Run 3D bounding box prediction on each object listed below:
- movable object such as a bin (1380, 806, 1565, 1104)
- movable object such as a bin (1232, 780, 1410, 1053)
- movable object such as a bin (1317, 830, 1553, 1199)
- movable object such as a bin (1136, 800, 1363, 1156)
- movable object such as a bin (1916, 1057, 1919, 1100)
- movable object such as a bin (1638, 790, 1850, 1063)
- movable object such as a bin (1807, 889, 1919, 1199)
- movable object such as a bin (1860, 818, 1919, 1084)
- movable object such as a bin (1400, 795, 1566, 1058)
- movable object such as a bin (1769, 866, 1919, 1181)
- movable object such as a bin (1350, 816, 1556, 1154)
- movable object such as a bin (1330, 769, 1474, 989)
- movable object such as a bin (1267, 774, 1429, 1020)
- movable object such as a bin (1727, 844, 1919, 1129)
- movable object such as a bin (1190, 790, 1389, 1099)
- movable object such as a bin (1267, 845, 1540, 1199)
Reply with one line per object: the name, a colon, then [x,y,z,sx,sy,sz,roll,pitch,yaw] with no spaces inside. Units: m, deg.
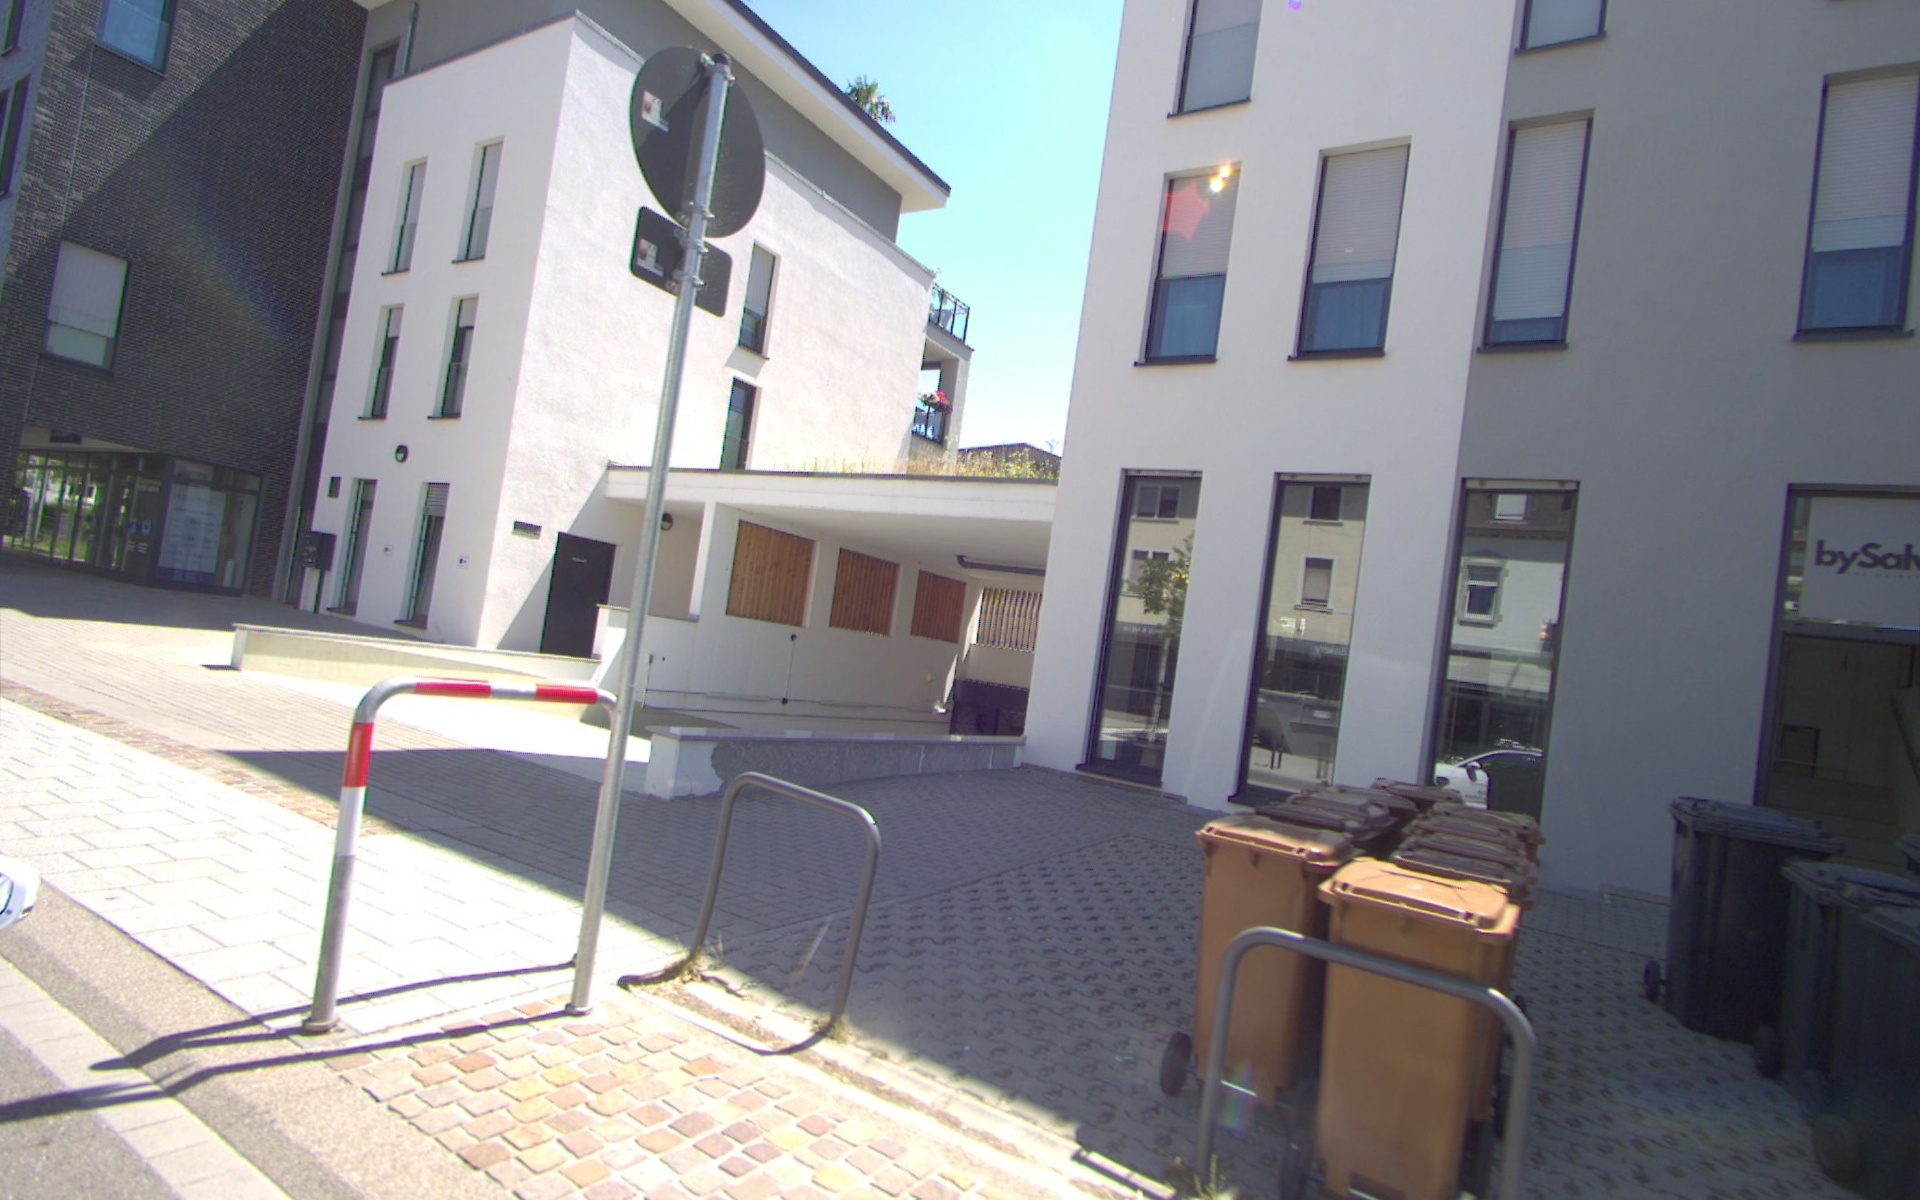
movable object such as a bin: [2.027,1.349,3.968,0.514,0.942,0.465,7,-1,33]
movable object such as a bin: [1.530,1.291,4.250,0.520,0.942,0.474,7,-1,33]
movable object such as a bin: [1.493,1.268,3.146,0.520,0.942,0.468,7,-1,33]
movable object such as a bin: [0.977,1.206,3.374,0.520,0.942,0.474,7,-1,33]
movable object such as a bin: [4.147,1.540,3.778,0.615,1.073,0.646,7,0,34]
movable object such as a bin: [3.714,1.513,4.814,0.550,1.054,0.571,7,0,19]
movable object such as a bin: [3.110,1.465,3.142,0.429,0.935,0.517,7,0,10]
movable object such as a bin: [4.549,1.601,4.488,0.615,1.073,0.646,7,0,34]
movable object such as a bin: [2.299,1.388,4.414,0.514,0.942,0.465,7,-1,33]
movable object such as a bin: [3.364,1.512,3.632,0.429,0.935,0.483,7,0,10]
movable object such as a bin: [1.753,1.308,3.565,0.514,0.942,0.465,7,-1,33]
movable object such as a bin: [2.271,1.395,5.159,0.520,0.942,0.474,7,-1,33]
movable object such as a bin: [1.805,1.337,4.666,0.520,0.942,0.474,7,-1,33]
movable object such as a bin: [3.565,1.540,4.107,0.429,0.935,0.483,7,0,10]
movable object such as a bin: [1.253,1.251,3.809,0.520,0.942,0.474,7,-1,33]
movable object such as a bin: [1.206,1.217,2.723,0.520,0.942,0.474,7,-1,33]
